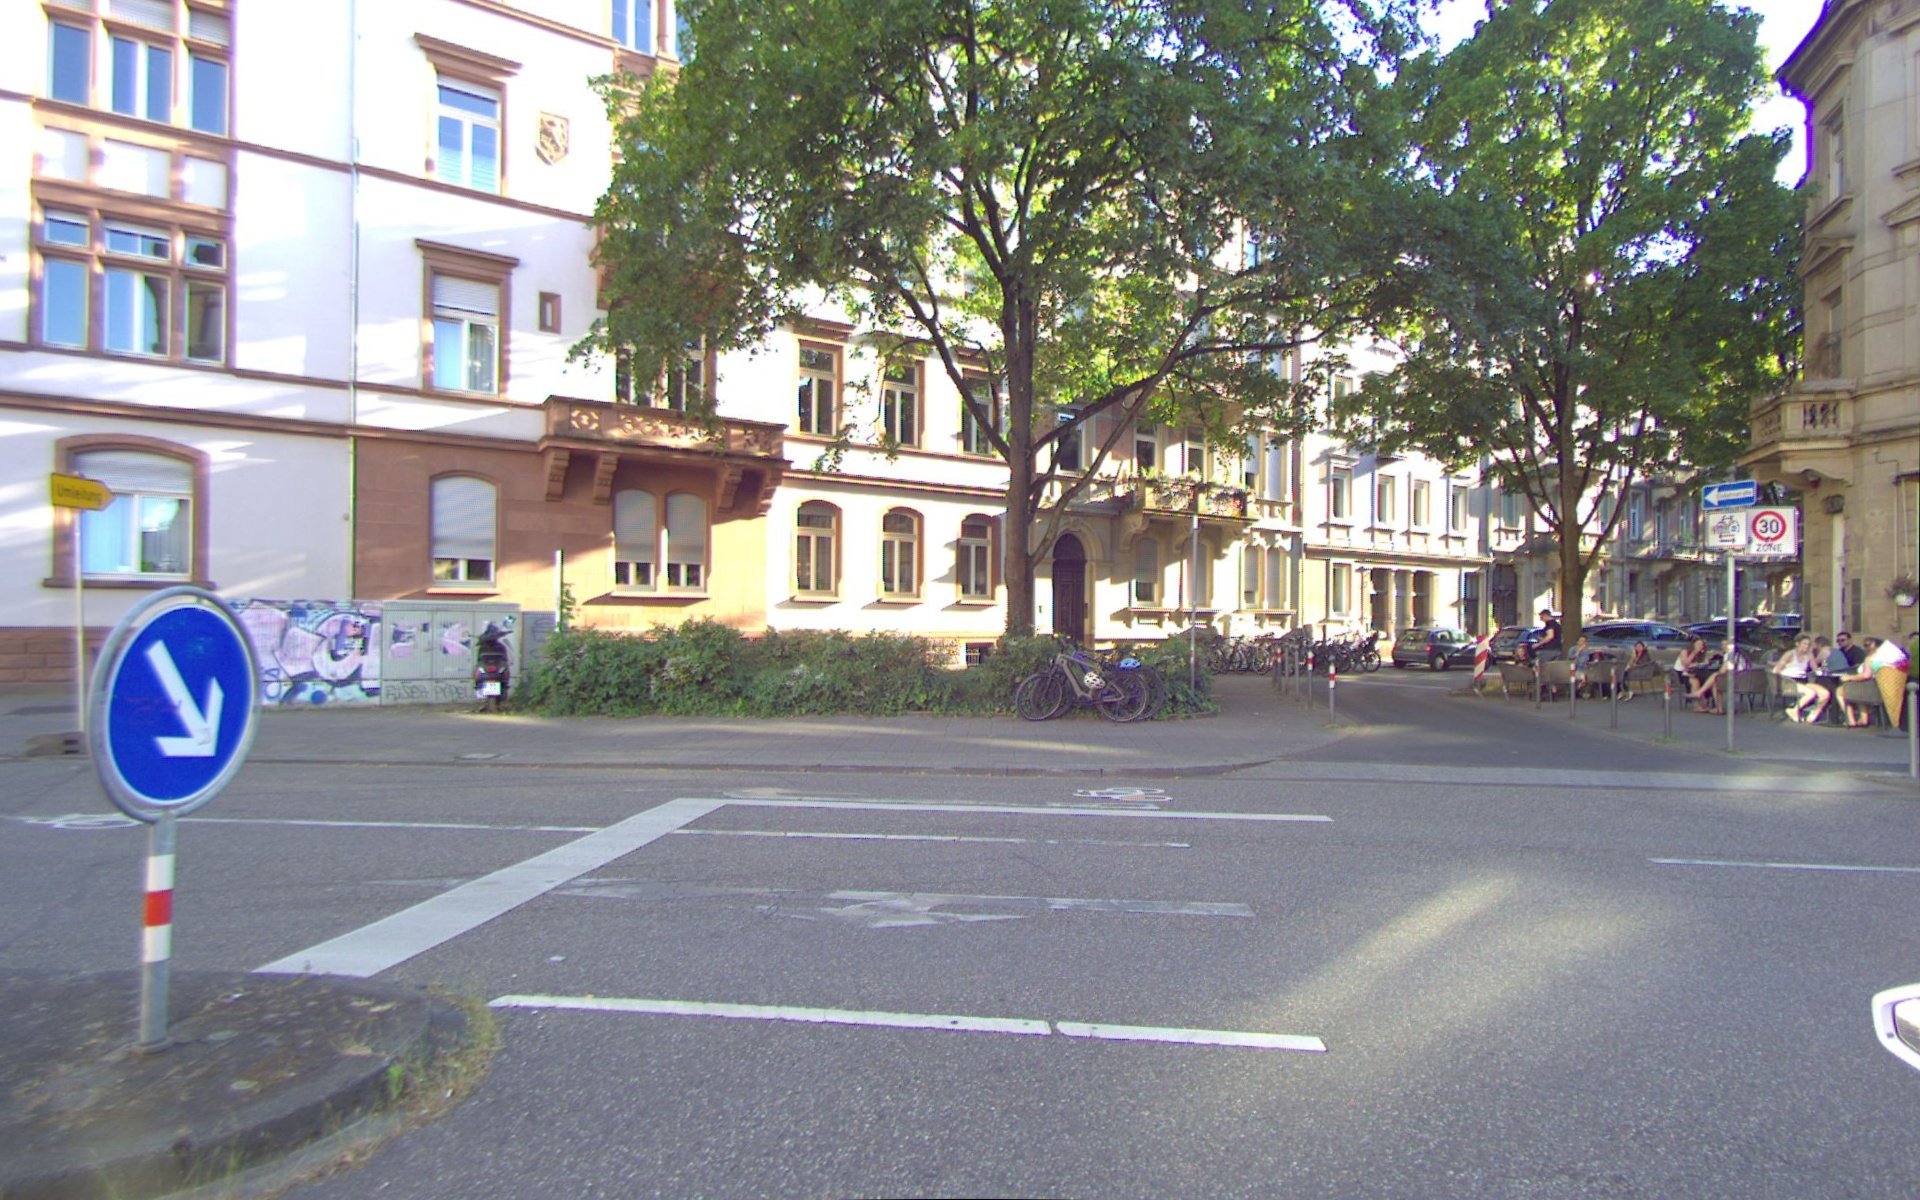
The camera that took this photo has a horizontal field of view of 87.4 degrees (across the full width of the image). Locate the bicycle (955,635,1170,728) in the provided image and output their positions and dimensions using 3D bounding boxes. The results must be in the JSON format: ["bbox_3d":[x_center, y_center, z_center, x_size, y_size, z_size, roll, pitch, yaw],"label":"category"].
[{"bbox_3d":[1.400,1.104,13.872,2.899,1.212,0.548,0,-1,6],"label":"bicycle"}]

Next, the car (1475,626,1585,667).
[{"bbox_3d":[20.519,1.659,36.142,3.710,1.394,1.913,1,-1,-32],"label":"car"}]

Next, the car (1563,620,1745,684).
[{"bbox_3d":[18.297,1.330,26.705,3.765,1.582,1.801,0,-1,27],"label":"car"}]

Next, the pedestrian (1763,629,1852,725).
[{"bbox_3d":[12.999,1.164,15.423,0.714,1.429,0.755,1,-1,-9],"label":"pedestrian"}]

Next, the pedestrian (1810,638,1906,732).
[{"bbox_3d":[13.019,1.216,14.581,0.729,1.306,0.745,0,-1,-8],"label":"pedestrian"}]

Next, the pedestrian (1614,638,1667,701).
[{"bbox_3d":[13.674,1.384,20.199,0.664,1.231,0.668,-1,-2,13],"label":"pedestrian"}]

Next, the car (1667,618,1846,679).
[{"bbox_3d":[23.600,1.397,29.974,3.931,1.706,1.995,0,-1,32],"label":"car"}]

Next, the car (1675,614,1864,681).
[{"bbox_3d":[22.202,1.263,27.655,3.942,1.706,1.990,-1,-2,42],"label":"car"}]

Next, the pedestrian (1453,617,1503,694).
[{"bbox_3d":[11.540,1.234,22.388,0.752,1.691,0.668,0,-2,1],"label":"pedestrian"}]

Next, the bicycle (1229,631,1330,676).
[{"bbox_3d":[9.302,1.535,29.418,0.744,1.196,3.110,1,-1,-32],"label":"bicycle"}]

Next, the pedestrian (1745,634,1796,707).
[{"bbox_3d":[14.458,1.246,17.924,0.500,1.265,0.482,0,-1,0],"label":"pedestrian"}]

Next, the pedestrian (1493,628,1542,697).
[{"bbox_3d":[11.801,1.327,21.299,0.752,1.430,0.668,-1,-2,16],"label":"pedestrian"}]

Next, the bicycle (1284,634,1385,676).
[{"bbox_3d":[11.395,1.644,30.734,0.744,1.196,3.110,1,-1,-32],"label":"bicycle"}]

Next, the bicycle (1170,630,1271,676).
[{"bbox_3d":[7.237,1.439,28.112,0.744,1.196,3.110,1,-1,-32],"label":"bicycle"}]

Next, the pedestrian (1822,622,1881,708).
[{"bbox_3d":[15.297,1.100,17.246,0.473,1.450,0.569,0,-1,-8],"label":"pedestrian"}]

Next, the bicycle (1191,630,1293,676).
[{"bbox_3d":[7.953,1.468,28.551,0.744,1.196,3.110,1,-1,-32],"label":"bicycle"}]

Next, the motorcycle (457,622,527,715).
[{"bbox_3d":[-6.969,0.981,15.033,0.831,1.282,2.099,1,-1,-22],"label":"motorcycle"}]

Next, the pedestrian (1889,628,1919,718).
[{"bbox_3d":[15.004,1.136,15.727,0.425,1.385,0.482,0,-1,-6],"label":"pedestrian"}]

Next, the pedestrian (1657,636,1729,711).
[{"bbox_3d":[12.820,1.277,17.584,0.734,1.265,0.707,0,-1,0],"label":"pedestrian"}]

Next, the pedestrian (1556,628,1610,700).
[{"bbox_3d":[12.976,1.325,20.936,0.751,1.460,0.668,-1,-2,15],"label":"pedestrian"}]

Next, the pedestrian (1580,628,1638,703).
[{"bbox_3d":[12.855,1.291,19.909,0.751,1.460,0.668,-1,-2,15],"label":"pedestrian"}]

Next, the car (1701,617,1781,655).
[{"bbox_3d":[36.446,1.674,46.864,3.710,1.706,1.797,1,-1,-32],"label":"car"}]

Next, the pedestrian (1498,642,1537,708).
[{"bbox_3d":[11.474,1.532,20.670,0.560,1.338,0.505,-1,-1,13],"label":"pedestrian"}]

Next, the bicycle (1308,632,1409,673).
[{"bbox_3d":[12.371,1.604,31.307,0.744,1.196,3.110,1,-1,-32],"label":"bicycle"}]

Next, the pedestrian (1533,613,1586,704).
[{"bbox_3d":[12.037,1.174,20.185,0.751,1.793,0.572,-1,-2,15],"label":"pedestrian"}]

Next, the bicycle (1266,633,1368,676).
[{"bbox_3d":[10.697,1.607,30.273,0.744,1.196,3.110,1,-1,-32],"label":"bicycle"}]

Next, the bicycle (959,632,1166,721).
[{"bbox_3d":[1.463,1.086,14.465,2.899,1.212,0.548,0,-1,6],"label":"bicycle"}]

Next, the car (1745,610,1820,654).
[{"bbox_3d":[40.782,1.565,49.804,3.710,2.112,1.797,1,-1,-32],"label":"car"}]

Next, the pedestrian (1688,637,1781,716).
[{"bbox_3d":[12.832,1.249,16.674,0.734,1.265,1.025,0,-1,0],"label":"pedestrian"}]

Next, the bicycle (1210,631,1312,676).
[{"bbox_3d":[8.616,1.499,28.964,0.744,1.196,3.110,1,-1,-32],"label":"bicycle"}]

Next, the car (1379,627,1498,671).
[{"bbox_3d":[16.009,1.601,33.574,3.710,1.394,1.913,1,-1,-32],"label":"car"}]

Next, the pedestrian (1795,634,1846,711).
[{"bbox_3d":[14.501,1.217,16.927,0.425,1.265,0.482,0,-1,0],"label":"pedestrian"}]

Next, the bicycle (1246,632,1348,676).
[{"bbox_3d":[9.969,1.570,29.865,0.744,1.196,3.110,1,-1,-32],"label":"bicycle"}]

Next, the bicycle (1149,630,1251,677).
[{"bbox_3d":[6.544,1.438,27.642,0.744,1.196,3.110,1,-1,-32],"label":"bicycle"}]
